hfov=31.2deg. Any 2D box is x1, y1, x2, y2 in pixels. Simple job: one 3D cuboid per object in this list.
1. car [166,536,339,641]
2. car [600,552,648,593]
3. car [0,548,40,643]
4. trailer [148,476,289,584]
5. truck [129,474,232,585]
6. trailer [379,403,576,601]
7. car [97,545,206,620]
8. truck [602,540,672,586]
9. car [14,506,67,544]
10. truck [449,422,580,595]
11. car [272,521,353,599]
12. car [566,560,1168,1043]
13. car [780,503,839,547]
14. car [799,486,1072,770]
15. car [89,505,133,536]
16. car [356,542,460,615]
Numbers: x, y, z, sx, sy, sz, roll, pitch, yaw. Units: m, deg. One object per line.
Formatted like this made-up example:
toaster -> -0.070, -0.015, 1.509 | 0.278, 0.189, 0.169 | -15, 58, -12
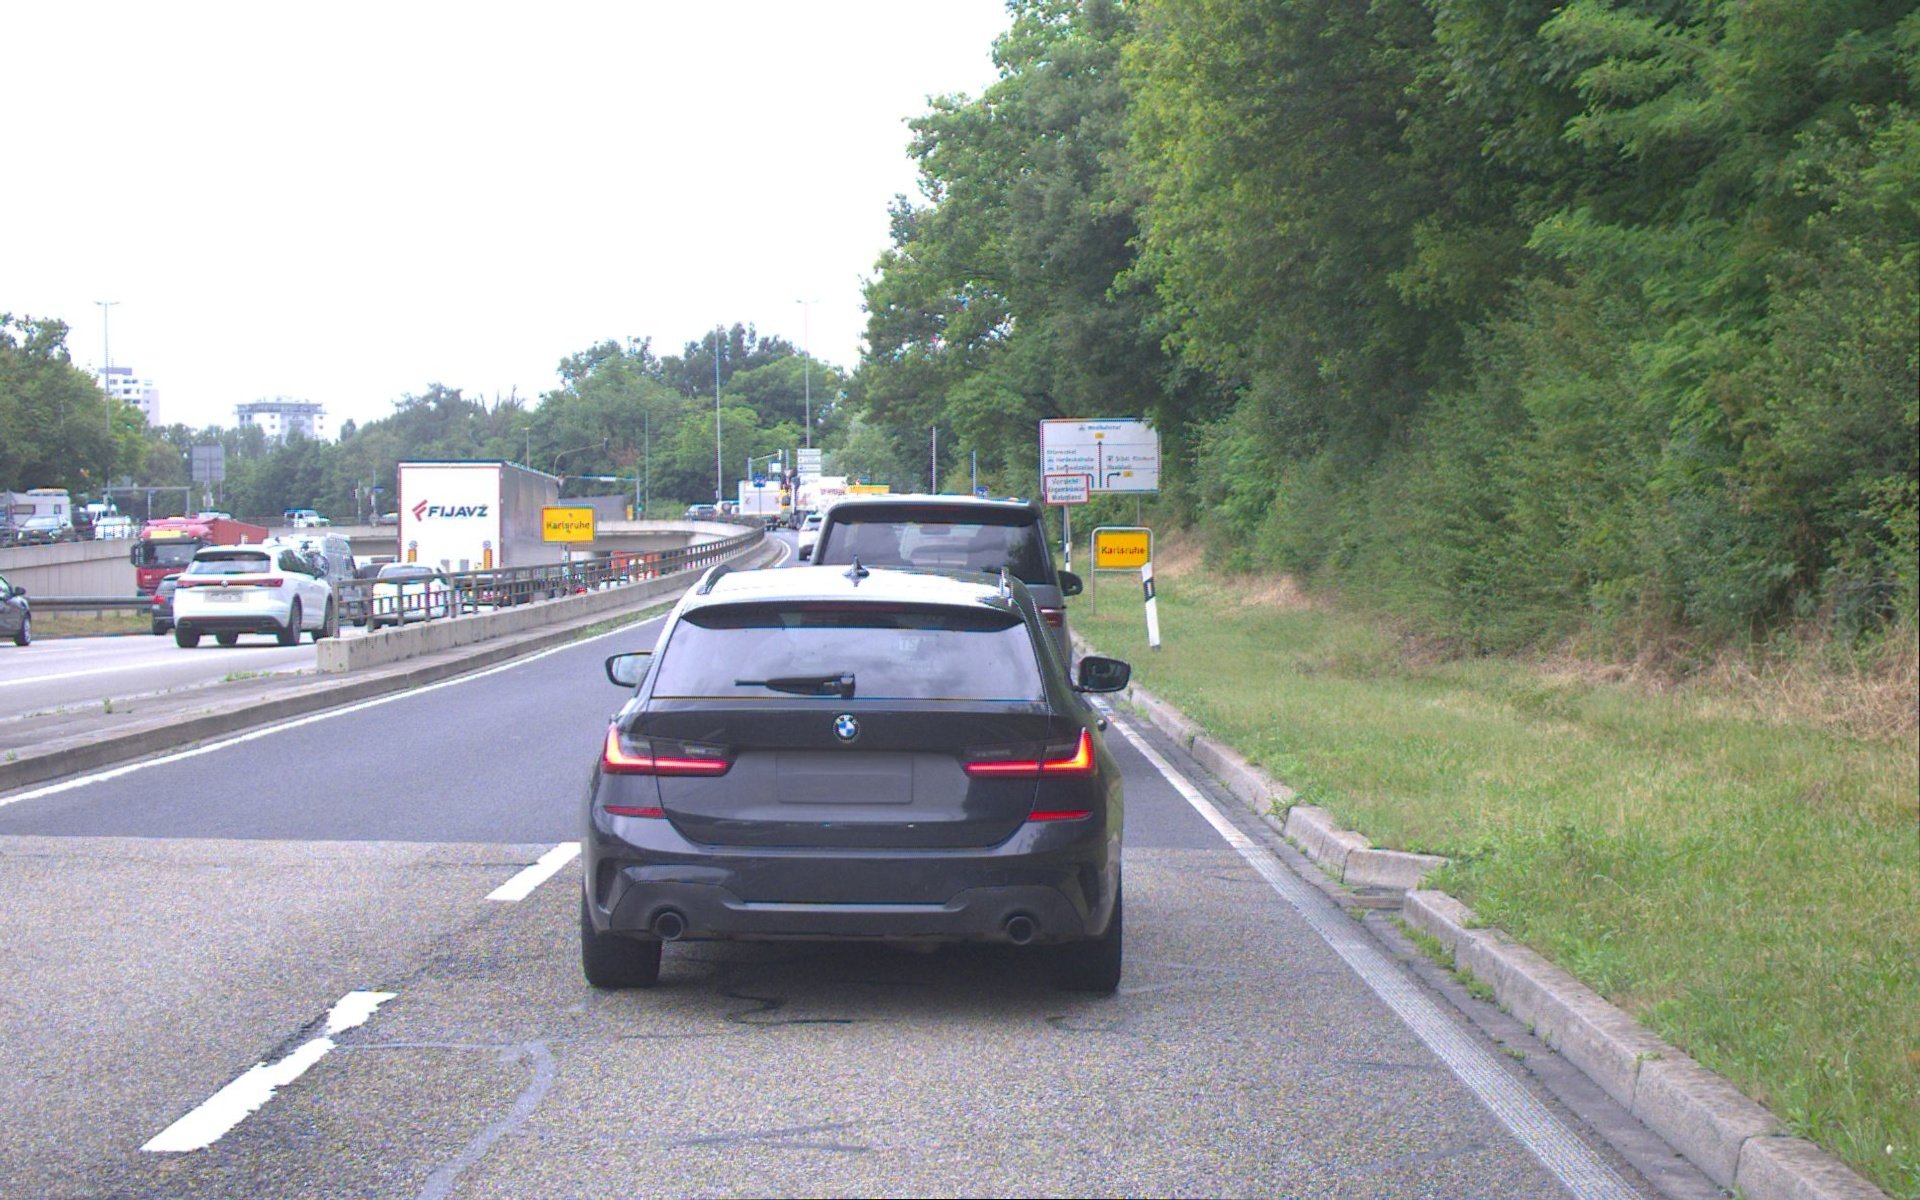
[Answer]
car -> -11.821, -0.227, 57.730 | 1.946, 1.686, 4.507 | 1, 1, 0
car -> -12.538, -1.034, 128.376 | 1.448, 1.485, 3.062 | 0, 1, 1
car -> -17.383, -0.093, 59.896 | 1.687, 1.602, 4.008 | 1, 1, -1
trailer -> -29.202, -2.759, 136.069 | 2.764, 4.050, 13.354 | 0, 1, 0
truck -> -29.058, -2.613, 128.307 | 2.763, 4.050, 4.907 | 0, 1, 0
trailer -> -12.421, -2.459, 89.890 | 3.132, 4.709, 14.559 | 1, 1, 0
car -> -18.538, -0.428, 78.965 | 1.687, 1.626, 3.735 | 1, 1, -1
truck -> -18.008, -2.087, 192.355 | 3.274, 2.500, 7.661 | 0, 1, -1
car -> -39.349, -3.197, 147.194 | 1.437, 1.580, 3.244 | 0, 1, -1
truck -> -12.445, -2.549, 96.415 | 3.084, 4.681, 4.232 | 1, 1, 0
car -> -17.322, -1.078, 92.114 | 1.443, 2.037, 3.680 | 0, 1, 1
car -> -0.352, 0.603, 12.615 | 1.846, 1.462, 4.000 | 0, 1, -2
car -> -5.482, -2.741, 125.850 | 1.931, 1.590, 3.877 | 0, 1, 1
car -> -0.165, 0.151, 24.739 | 1.796, 1.865, 4.000 | 0, 1, 0
car -> -40.375, -3.765, 163.590 | 1.437, 1.441, 3.244 | 0, 1, -3
car -> -11.905, -0.485, 74.276 | 1.768, 1.544, 3.493 | 0, 1, -1
